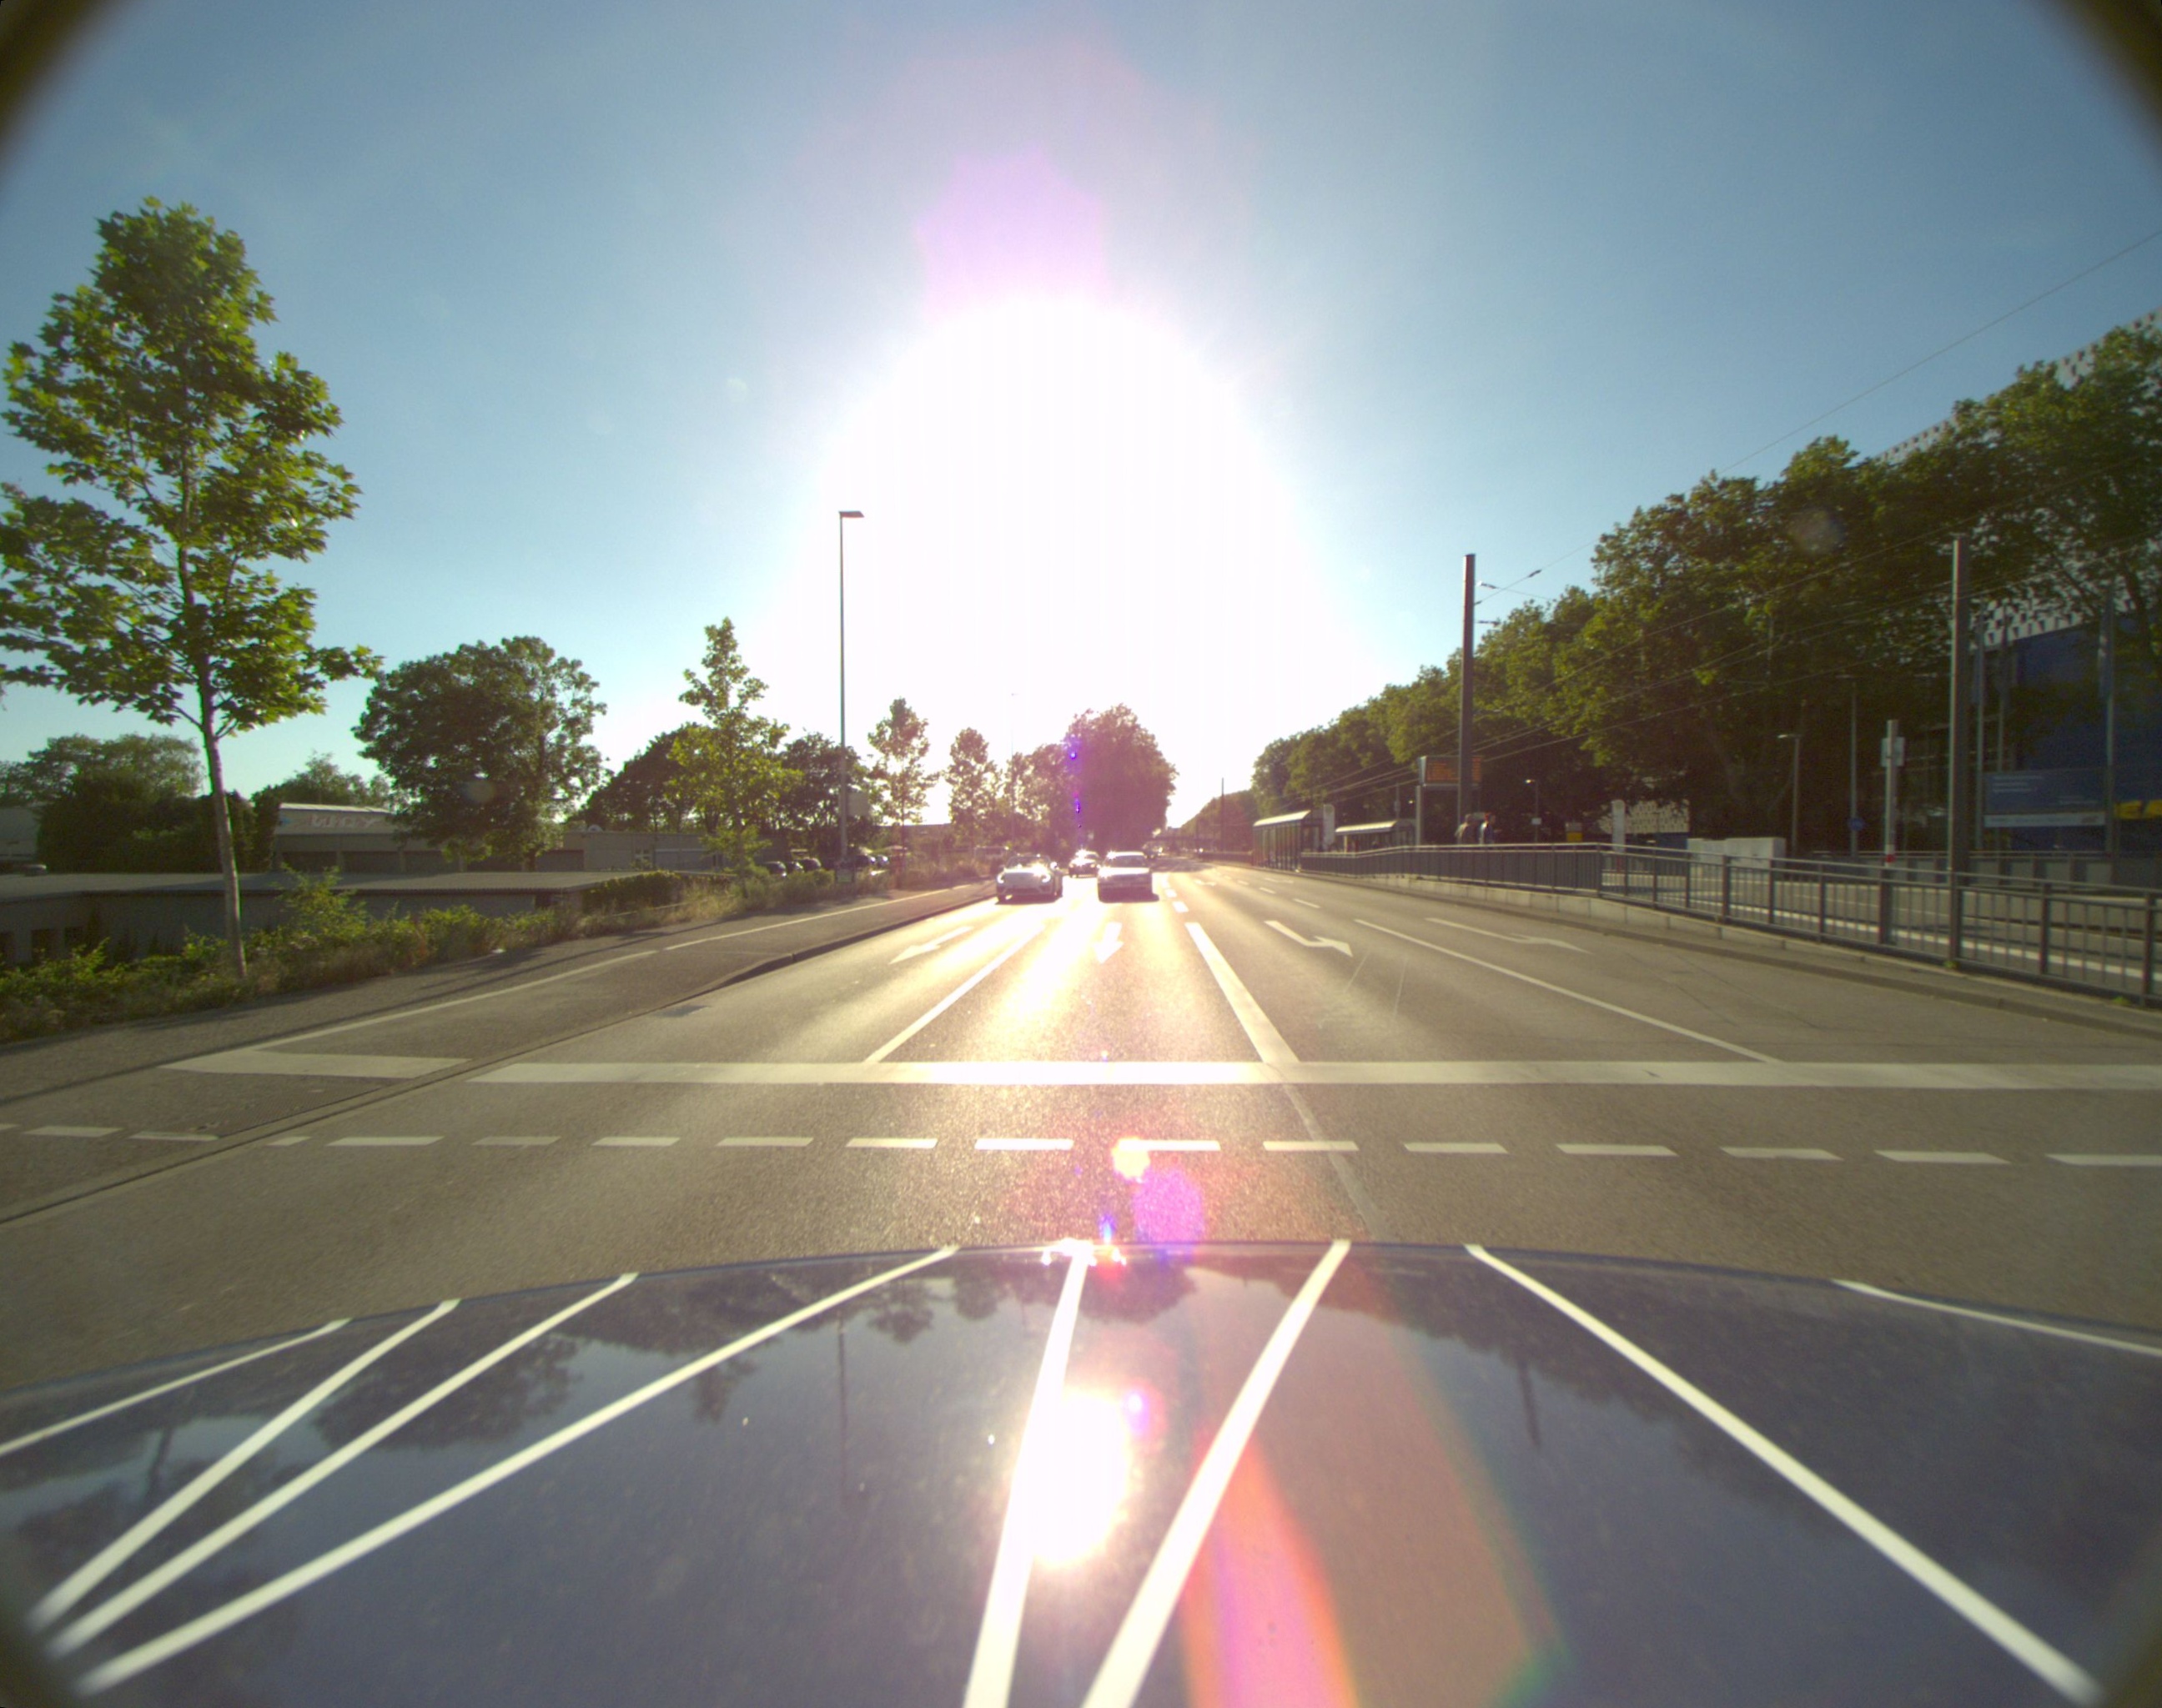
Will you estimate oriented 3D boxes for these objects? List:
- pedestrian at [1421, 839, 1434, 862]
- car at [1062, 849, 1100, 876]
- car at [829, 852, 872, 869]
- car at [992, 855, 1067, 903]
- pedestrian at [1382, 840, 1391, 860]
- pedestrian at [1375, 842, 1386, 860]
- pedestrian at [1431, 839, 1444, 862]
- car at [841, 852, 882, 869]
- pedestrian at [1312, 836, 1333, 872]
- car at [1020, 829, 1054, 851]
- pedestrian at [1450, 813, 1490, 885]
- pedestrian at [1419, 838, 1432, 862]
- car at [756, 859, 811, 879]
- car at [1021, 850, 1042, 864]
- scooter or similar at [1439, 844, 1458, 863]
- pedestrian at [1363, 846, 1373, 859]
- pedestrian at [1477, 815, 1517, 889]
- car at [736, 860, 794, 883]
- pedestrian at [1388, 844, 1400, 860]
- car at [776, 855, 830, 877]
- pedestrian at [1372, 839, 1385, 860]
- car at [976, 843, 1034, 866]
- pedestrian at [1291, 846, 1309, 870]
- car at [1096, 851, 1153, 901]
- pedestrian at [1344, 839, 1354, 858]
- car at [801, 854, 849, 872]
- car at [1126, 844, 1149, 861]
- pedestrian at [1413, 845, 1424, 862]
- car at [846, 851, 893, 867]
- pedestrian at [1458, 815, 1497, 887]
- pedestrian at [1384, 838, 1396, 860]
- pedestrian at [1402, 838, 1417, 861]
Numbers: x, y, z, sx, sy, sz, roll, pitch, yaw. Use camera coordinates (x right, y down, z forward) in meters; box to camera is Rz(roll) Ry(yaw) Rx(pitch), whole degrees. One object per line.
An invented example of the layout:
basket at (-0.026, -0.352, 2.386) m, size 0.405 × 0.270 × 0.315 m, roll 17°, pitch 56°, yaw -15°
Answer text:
pedestrian at (24.613, -0.253, 53.959) m, size 0.652 × 1.611 × 0.635 m, roll -2°, pitch 1°, yaw 8°
car at (0.047, 0.473, 45.014) m, size 1.740 × 1.502 × 4.002 m, roll -2°, pitch 0°, yaw 7°
car at (-24.090, 0.709, 79.371) m, size 3.872 × 1.631 × 1.665 m, roll -2°, pitch 0°, yaw 4°
car at (-1.622, 0.761, 25.307) m, size 1.856 × 1.415 × 3.981 m, roll -1°, pitch 0°, yaw 5°
pedestrian at (24.597, -0.342, 61.095) m, size 0.576 × 1.626 × 0.644 m, roll 0°, pitch 1°, yaw 13°
pedestrian at (25.136, -0.240, 63.816) m, size 0.671 × 1.483 × 0.577 m, roll -1°, pitch 1°, yaw -8°
pedestrian at (24.653, -0.247, 52.555) m, size 0.603 × 1.611 × 0.691 m, roll -2°, pitch 1°, yaw 8°
car at (-23.579, 0.704, 81.635) m, size 3.837 × 1.577 × 1.723 m, roll -3°, pitch 0°, yaw 4°
pedestrian at (11.600, -0.017, 36.513) m, size 0.695 × 1.706 × 0.822 m, roll -2°, pitch 1°, yaw 0°
car at (-5.392, -1.691, 93.784) m, size 2.938 × 2.607 × 5.926 m, roll -1°, pitch 1°, yaw 8°
pedestrian at (9.833, -0.121, 19.238) m, size 0.708 × 1.765 × 0.535 m, roll -3°, pitch 1°, yaw 9°
pedestrian at (24.683, -0.314, 54.499) m, size 0.652 × 1.709 × 0.635 m, roll -2°, pitch 1°, yaw 8°
car at (-24.782, 1.232, 63.415) m, size 3.792 × 1.389 × 1.738 m, roll -2°, pitch 3°, yaw 0°
car at (-5.712, 0.334, 87.780) m, size 1.998 × 1.638 × 4.156 m, roll -1°, pitch 0°, yaw 2°
scooter or similar at (24.307, -0.014, 50.273) m, size 0.665 × 1.227 × 1.372 m, roll -1°, pitch 1°, yaw 4°
pedestrian at (25.678, -0.146, 68.050) m, size 0.679 × 1.155 × 0.624 m, roll -1°, pitch 1°, yaw 2°
pedestrian at (9.623, -0.049, 17.594) m, size 0.535 × 1.647 × 0.751 m, roll -2°, pitch 1°, yaw 7°
car at (-25.157, 1.376, 60.614) m, size 3.792 × 1.548 × 1.727 m, roll -2°, pitch 3°, yaw 1°
pedestrian at (24.830, -0.154, 60.260) m, size 0.654 × 1.245 × 0.685 m, roll -3°, pitch 1°, yaw 2°
car at (-24.237, 1.033, 66.326) m, size 3.918 × 1.657 × 1.706 m, roll -3°, pitch 2°, yaw 2°
pedestrian at (23.493, -0.326, 60.001) m, size 0.661 × 1.623 × 0.777 m, roll -2°, pitch 1°, yaw 6°
car at (-7.529, 0.040, 75.421) m, size 5.349 × 2.010 × 2.104 m, roll -3°, pitch 0°, yaw 3°
pedestrian at (11.626, 0.207, 40.350) m, size 0.682 × 1.224 × 0.879 m, roll -3°, pitch 0°, yaw 5°
car at (1.339, 0.667, 24.782) m, size 1.602 × 1.440 × 3.799 m, roll -2°, pitch 0°, yaw 0°
pedestrian at (24.794, -0.486, 70.286) m, size 0.763 × 1.700 × 0.678 m, roll -1°, pitch 1°, yaw 6°
car at (-25.013, 0.843, 74.195) m, size 4.029 × 1.577 × 1.685 m, roll -3°, pitch 0°, yaw 1°
car at (5.120, -0.169, 68.056) m, size 1.870 × 1.422 × 3.832 m, roll -3°, pitch 0°, yaw 6°
pedestrian at (24.525, -0.065, 55.238) m, size 0.603 × 1.217 × 0.617 m, roll -2°, pitch 1°, yaw 8°
car at (-23.499, 0.587, 84.645) m, size 4.660 × 1.560 × 1.859 m, roll -3°, pitch 0°, yaw 2°
pedestrian at (9.667, -0.074, 18.536) m, size 0.535 × 1.683 × 0.760 m, roll -3°, pitch 1°, yaw 7°
pedestrian at (24.017, -0.395, 59.013) m, size 0.654 × 1.732 × 0.686 m, roll -3°, pitch 1°, yaw 8°
pedestrian at (24.653, -0.319, 57.113) m, size 0.733 × 1.682 × 0.687 m, roll -3°, pitch 1°, yaw -5°
